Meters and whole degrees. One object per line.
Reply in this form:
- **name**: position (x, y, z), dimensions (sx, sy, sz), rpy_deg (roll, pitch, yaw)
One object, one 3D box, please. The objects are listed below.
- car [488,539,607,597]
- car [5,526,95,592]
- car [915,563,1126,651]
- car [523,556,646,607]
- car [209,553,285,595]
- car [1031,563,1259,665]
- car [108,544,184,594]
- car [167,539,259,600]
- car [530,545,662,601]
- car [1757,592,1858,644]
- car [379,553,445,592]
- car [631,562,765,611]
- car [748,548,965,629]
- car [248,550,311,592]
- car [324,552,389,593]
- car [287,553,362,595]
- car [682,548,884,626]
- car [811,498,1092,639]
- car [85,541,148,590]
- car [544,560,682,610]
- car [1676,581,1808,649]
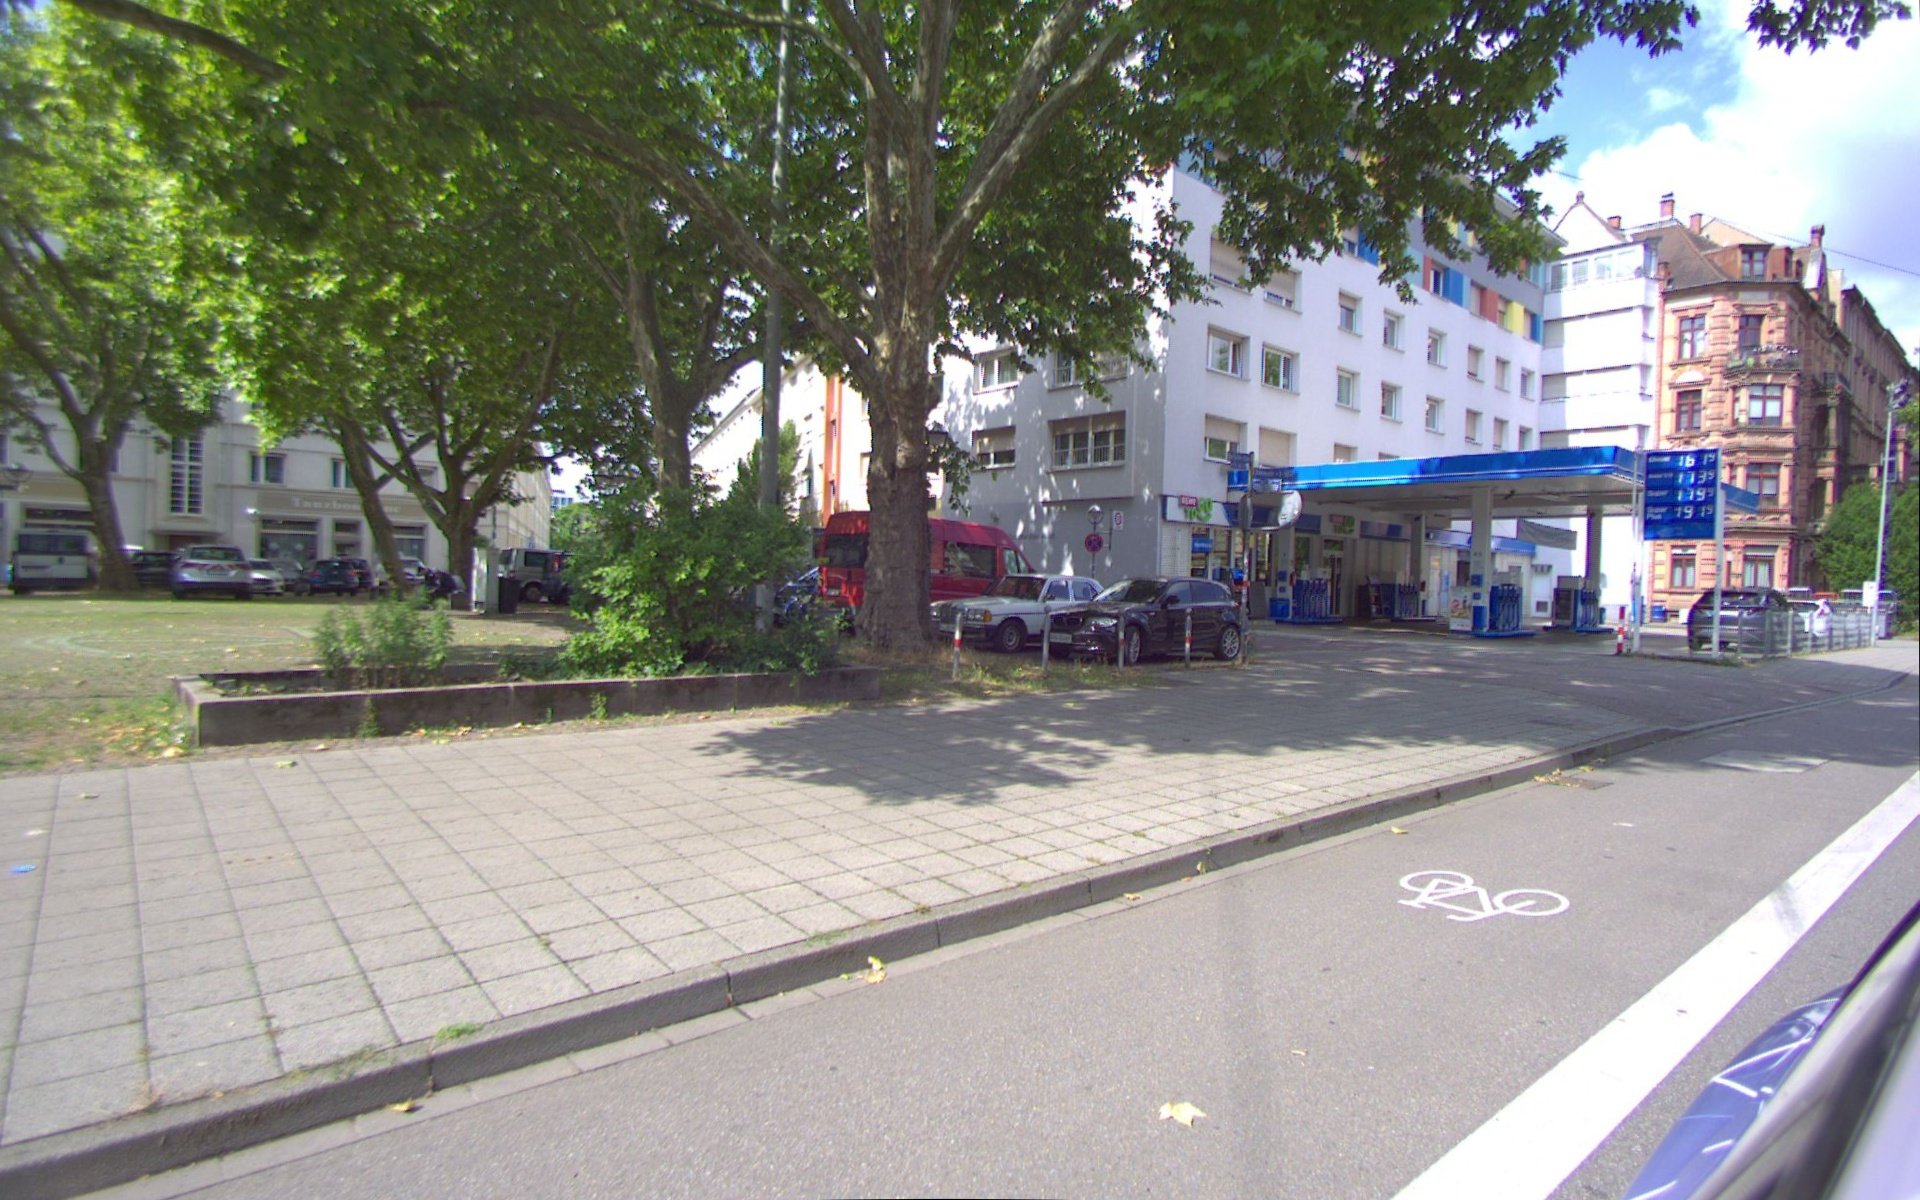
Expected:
- **car**: position (-14.937, -1.134, 36.738), dimensions (3.581, 2.012, 1.825), rpy_deg (0, 2, -43)
- **car**: position (-30.400, -1.357, 33.928), dimensions (2.040, 2.038, 4.264), rpy_deg (1, 2, -40)
- **car**: position (1.203, 0.108, 18.802), dimensions (3.976, 1.447, 1.650), rpy_deg (0, 2, -44)
- **car**: position (-11.925, -0.570, 32.217), dimensions (3.320, 1.527, 1.600), rpy_deg (1, 0, -43)
- **car**: position (-26.213, -0.983, 37.154), dimensions (1.924, 1.439, 4.174), rpy_deg (0, 2, -40)
- **car**: position (3.172, 0.193, 16.916), dimensions (3.973, 1.488, 1.651), rpy_deg (1, 2, -42)
- **car**: position (-28.491, -1.104, 35.415), dimensions (1.964, 1.614, 4.264), rpy_deg (1, 2, -40)
- **car**: position (-22.326, -0.927, 30.195), dimensions (1.964, 1.656, 4.161), rpy_deg (1, 2, -40)
- **car**: position (-12.708, -0.906, 35.459), dimensions (3.979, 1.843, 1.824), rpy_deg (1, 0, -43)
- **car**: position (26.055, 0.528, 31.077), dimensions (3.932, 1.473, 1.809), rpy_deg (1, 1, -41)
- **car**: position (-27.454, -1.377, 50.599), dimensions (2.151, 1.827, 4.757), rpy_deg (1, 2, -38)
- **car**: position (-7.799, -0.380, 30.332), dimensions (3.581, 1.380, 1.582), rpy_deg (1, 0, -43)
- **car**: position (-2.286, -0.239, 23.040), dimensions (4.568, 1.672, 2.011), rpy_deg (1, 0, -39)
- **car**: position (-31.971, -1.378, 47.472), dimensions (2.151, 1.827, 4.757), rpy_deg (1, 2, -38)
- **car**: position (-29.340, -1.359, 49.125), dimensions (2.151, 1.827, 4.694), rpy_deg (1, 2, -38)
- **car**: position (-24.937, -1.030, 39.655), dimensions (1.964, 1.543, 4.161), rpy_deg (0, 2, -40)
- **car**: position (-4.337, -0.301, 25.219), dimensions (4.568, 1.776, 2.011), rpy_deg (1, 0, -39)
- **car**: position (-0.041, -0.608, 21.486), dimensions (5.911, 2.614, 2.117), rpy_deg (1, 1, -39)
- **car**: position (-36.346, -1.511, 43.640), dimensions (2.001, 1.953, 4.692), rpy_deg (1, 2, -40)
- **car**: position (-10.456, -0.428, 30.613), dimensions (3.581, 1.433, 1.647), rpy_deg (1, 0, -43)
- **car**: position (20.610, 0.369, 26.615), dimensions (4.501, 1.622, 1.810), rpy_deg (1, 1, -40)
